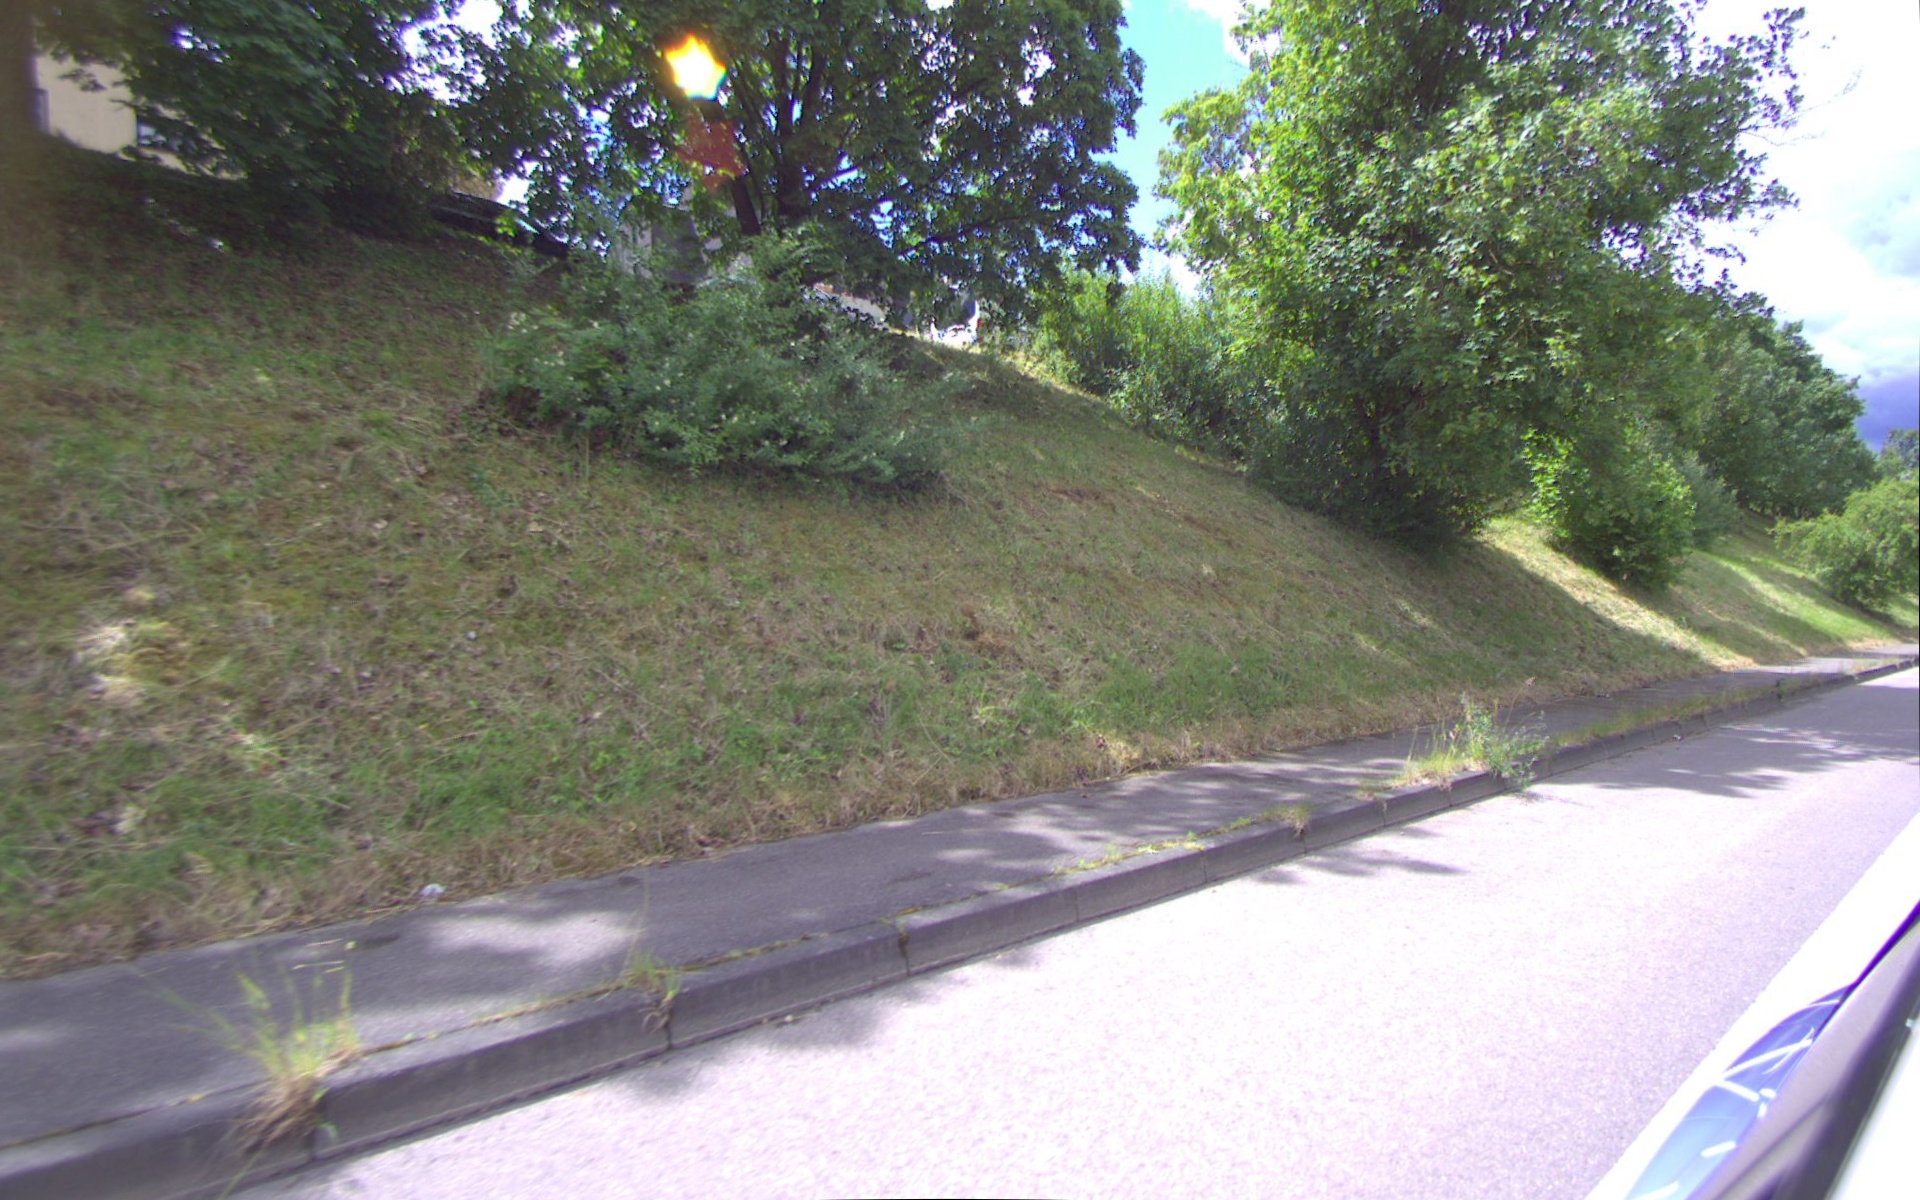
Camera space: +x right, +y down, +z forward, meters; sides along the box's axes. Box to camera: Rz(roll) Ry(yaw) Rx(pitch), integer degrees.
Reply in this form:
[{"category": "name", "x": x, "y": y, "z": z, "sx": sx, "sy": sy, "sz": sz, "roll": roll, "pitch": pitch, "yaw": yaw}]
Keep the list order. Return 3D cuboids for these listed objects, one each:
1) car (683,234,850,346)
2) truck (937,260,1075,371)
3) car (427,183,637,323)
[{"category": "car", "x": -4.130, "y": -6.589, "z": 21.812, "sx": 3.275, "sy": 1.460, "sz": 1.452, "roll": 0, "pitch": 0, "yaw": -41}, {"category": "truck", "x": 1.285, "y": -7.473, "z": 26.953, "sx": 3.902, "sy": 1.965, "sz": 1.385, "roll": 0, "pitch": 0, "yaw": -44}, {"category": "car", "x": -7.746, "y": -6.212, "z": 18.436, "sx": 3.274, "sy": 1.460, "sz": 1.452, "roll": 0, "pitch": 0, "yaw": -40}]
